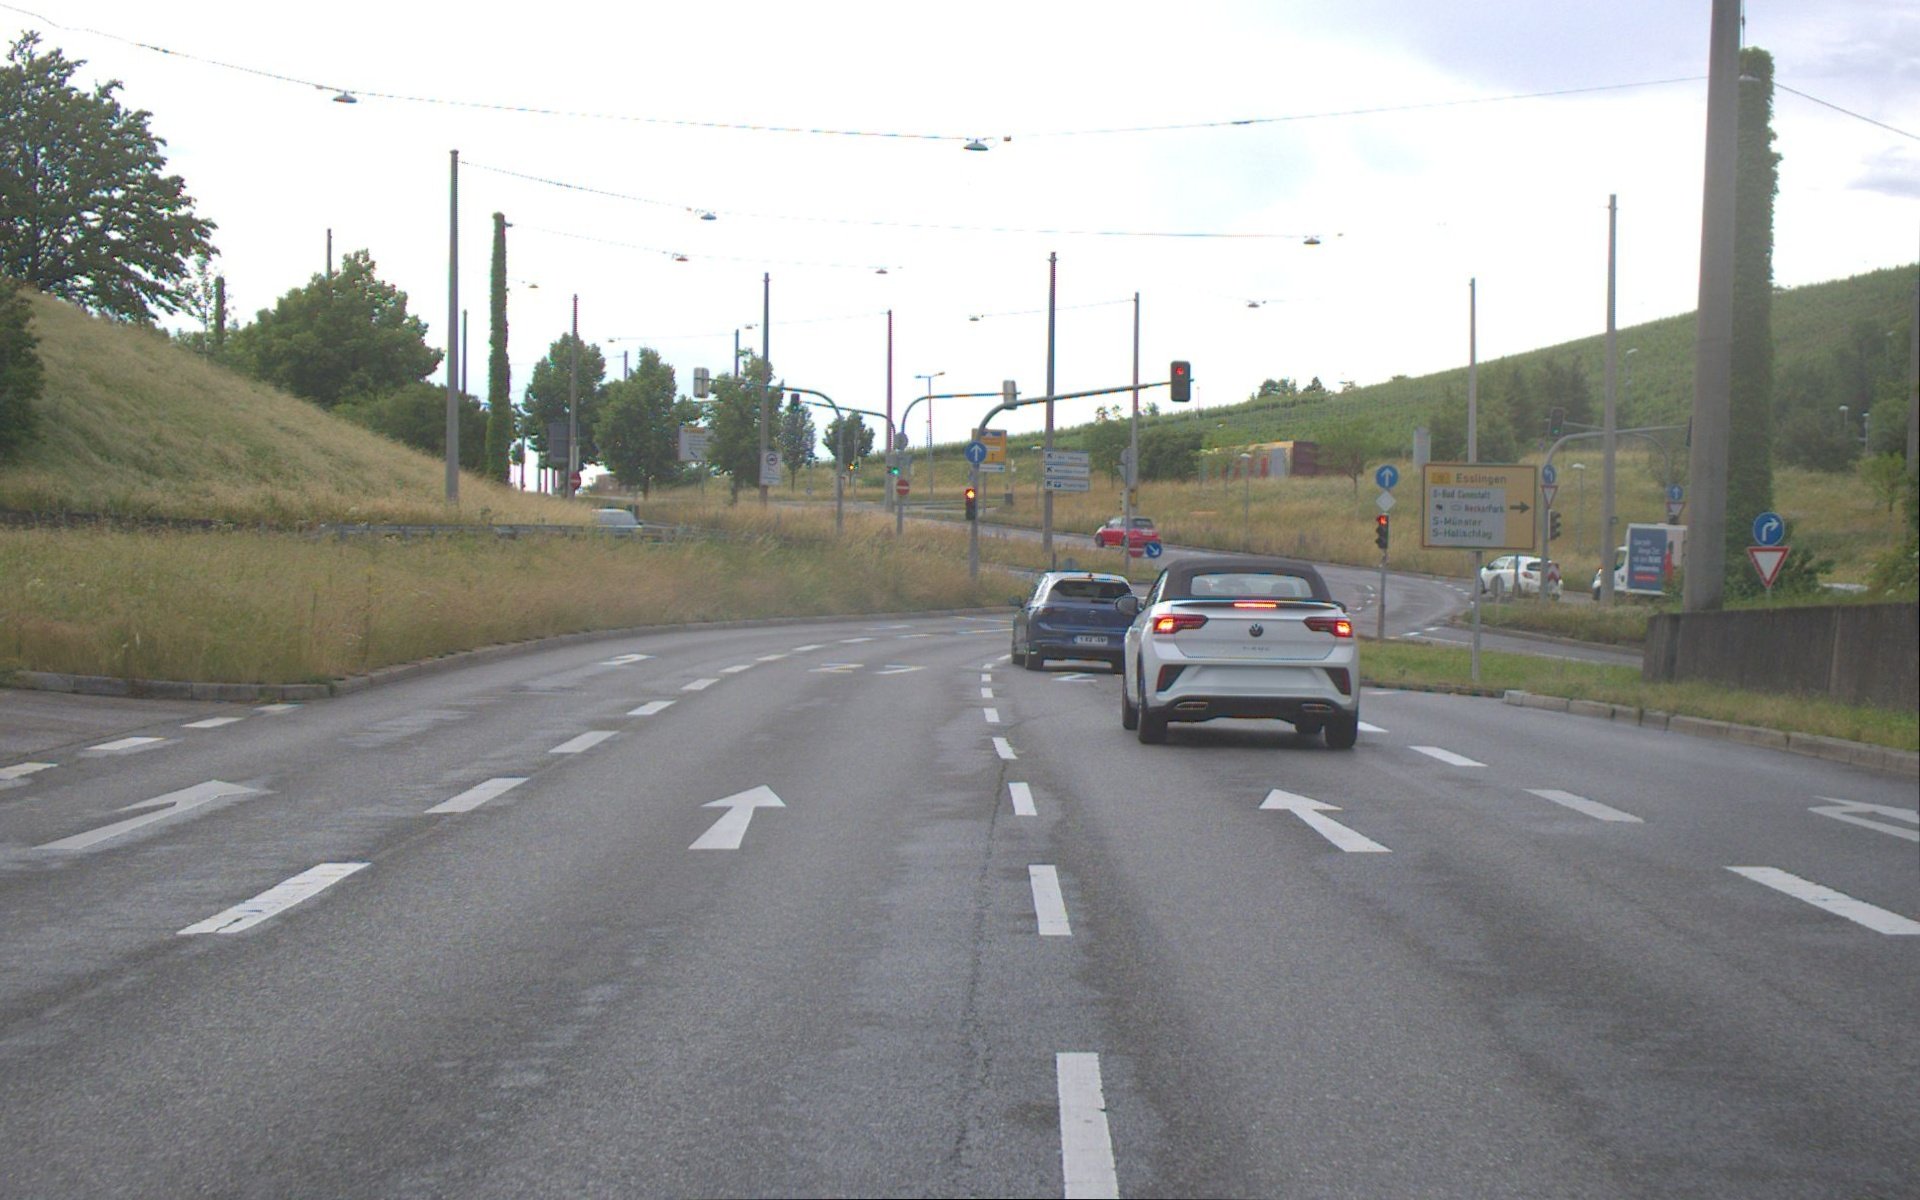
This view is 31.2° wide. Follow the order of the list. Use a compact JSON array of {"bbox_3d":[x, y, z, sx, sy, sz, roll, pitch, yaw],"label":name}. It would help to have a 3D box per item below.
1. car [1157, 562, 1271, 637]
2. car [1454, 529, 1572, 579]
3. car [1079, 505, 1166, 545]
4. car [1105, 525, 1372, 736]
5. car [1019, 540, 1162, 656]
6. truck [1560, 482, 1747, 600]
[{"bbox_3d":[5.748,-0.011,77.415,1.776,1.514,3.722,4,1,15],"label":"car"},{"bbox_3d":[19.291,-1.620,120.150,1.993,1.495,4.565,0,4,-21],"label":"car"},{"bbox_3d":[7.144,-3.316,151.850,1.993,1.706,4.564,0,2,-24],"label":"car"},{"bbox_3d":[2.281,0.236,29.146,1.996,1.573,4.125,2,0,2],"label":"car"},{"bbox_3d":[1.975,-0.023,51.117,1.926,1.594,4.061,2,0,4],"label":"car"},{"bbox_3d":[22.482,-1.954,111.821,2.847,3.514,6.237,0,4,-23],"label":"truck"}]
